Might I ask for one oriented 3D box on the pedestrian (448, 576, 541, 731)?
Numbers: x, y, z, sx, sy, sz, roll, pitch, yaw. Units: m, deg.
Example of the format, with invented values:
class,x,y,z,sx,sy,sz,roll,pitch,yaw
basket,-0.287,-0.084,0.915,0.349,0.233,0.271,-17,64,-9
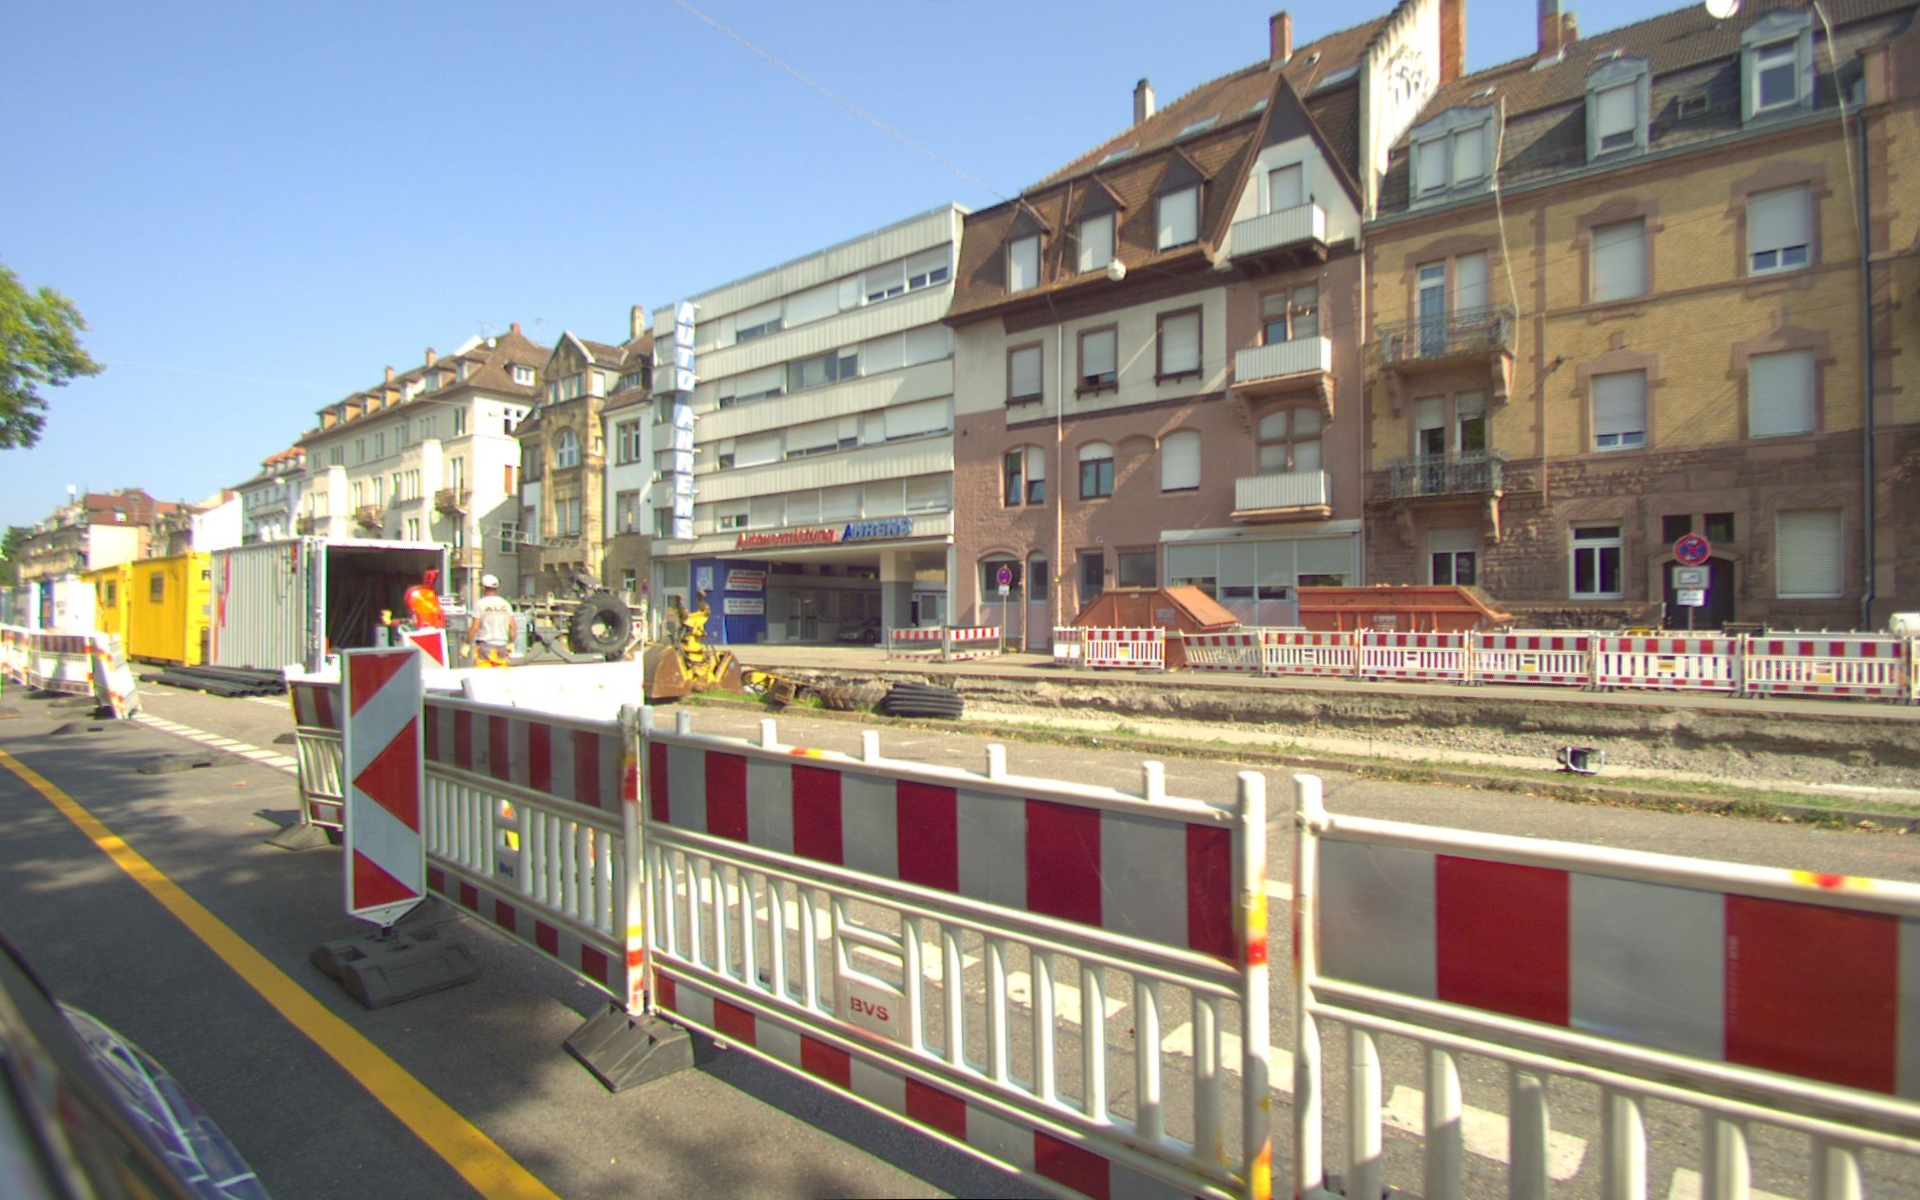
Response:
class,x,y,z,sx,sy,sz,roll,pitch,yaw
pedestrian,-5.665,0.636,12.330,0.594,1.811,0.795,-1,-3,35
